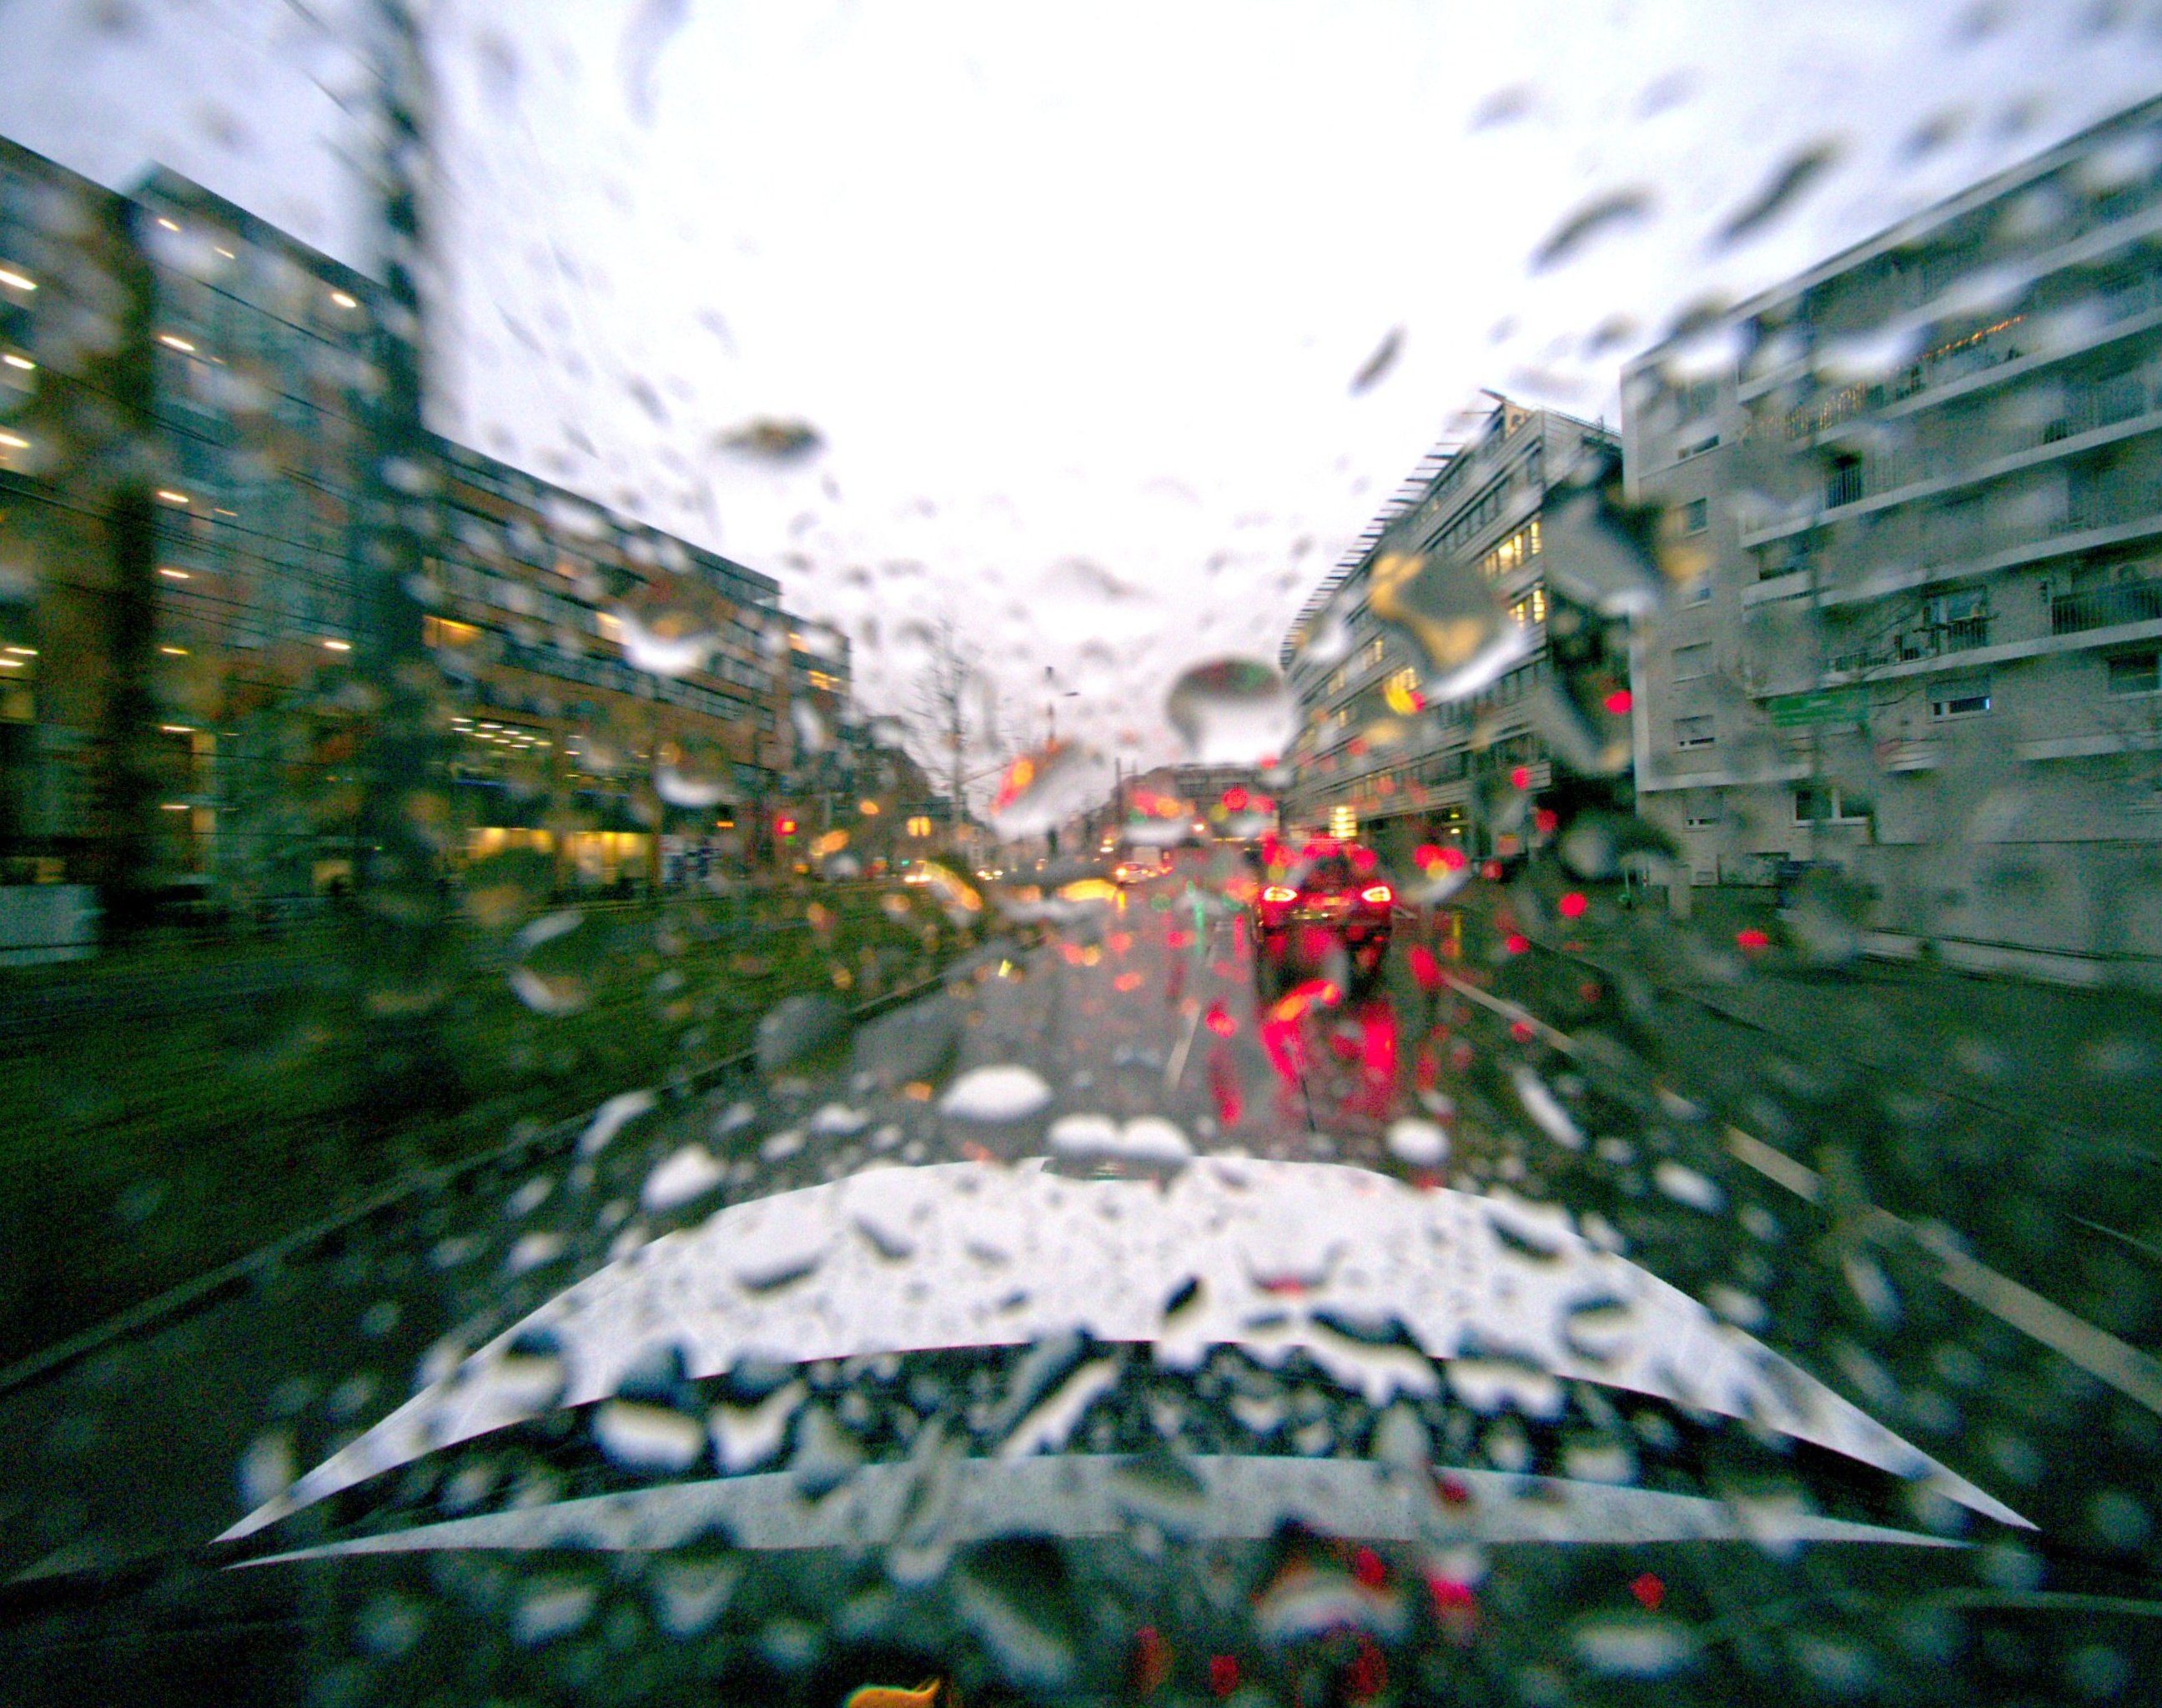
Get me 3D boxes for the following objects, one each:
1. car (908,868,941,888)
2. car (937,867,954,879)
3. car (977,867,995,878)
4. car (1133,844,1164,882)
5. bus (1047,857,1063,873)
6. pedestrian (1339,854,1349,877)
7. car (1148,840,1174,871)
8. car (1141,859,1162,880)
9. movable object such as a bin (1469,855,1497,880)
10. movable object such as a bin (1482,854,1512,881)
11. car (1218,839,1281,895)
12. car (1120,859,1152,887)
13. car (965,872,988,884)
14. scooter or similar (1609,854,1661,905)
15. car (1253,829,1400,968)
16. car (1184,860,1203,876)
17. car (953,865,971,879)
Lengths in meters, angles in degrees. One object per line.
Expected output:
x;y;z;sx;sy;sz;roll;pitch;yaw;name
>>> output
-12.575;1.921;65.787;1.809;1.442;3.956;-1;-1;1;car
-15.441;2.146;92.675;1.503;1.402;3.545;-1;-1;-3;car
-12.948;2.503;111.061;1.988;1.450;4.311;-1;-1;-2;car
4.557;0.598;55.669;1.985;2.427;5.979;-1;-1;3;car
-5.562;2.363;172.706;2.819;3.373;7.984;-1;-1;-5;bus
19.244;0.833;59.482;0.528;1.683;0.746;-1;-1;7;pedestrian
7.702;0.152;79.052;2.344;2.827;6.367;-1;-1;5;car
5.386;1.193;62.365;1.511;1.520;3.474;-1;-2;4;car
21.297;0.707;43.149;0.842;1.294;1.167;-3;-1;-3;movable object such as a bin
21.331;0.692;41.803;0.842;1.294;1.167;-3;-1;-3;movable object such as a bin
5.893;0.446;28.842;1.833;1.806;4.496;-1;-1;8;car
3.191;1.084;46.920;1.630;1.496;3.692;-1;0;6;car
-12.605;2.933;98.733;1.719;1.393;4.208;-1;-1;8;car
13.986;0.652;20.612;0.662;1.227;1.564;-2;-2;20;scooter or similar
3.606;0.610;12.601;1.663;1.780;4.011;-2;-1;10;car
9.689;1.229;70.167;1.503;1.306;3.048;-2;-1;9;car
-11.979;1.859;82.107;1.503;1.373;3.648;-1;-2;-3;car
